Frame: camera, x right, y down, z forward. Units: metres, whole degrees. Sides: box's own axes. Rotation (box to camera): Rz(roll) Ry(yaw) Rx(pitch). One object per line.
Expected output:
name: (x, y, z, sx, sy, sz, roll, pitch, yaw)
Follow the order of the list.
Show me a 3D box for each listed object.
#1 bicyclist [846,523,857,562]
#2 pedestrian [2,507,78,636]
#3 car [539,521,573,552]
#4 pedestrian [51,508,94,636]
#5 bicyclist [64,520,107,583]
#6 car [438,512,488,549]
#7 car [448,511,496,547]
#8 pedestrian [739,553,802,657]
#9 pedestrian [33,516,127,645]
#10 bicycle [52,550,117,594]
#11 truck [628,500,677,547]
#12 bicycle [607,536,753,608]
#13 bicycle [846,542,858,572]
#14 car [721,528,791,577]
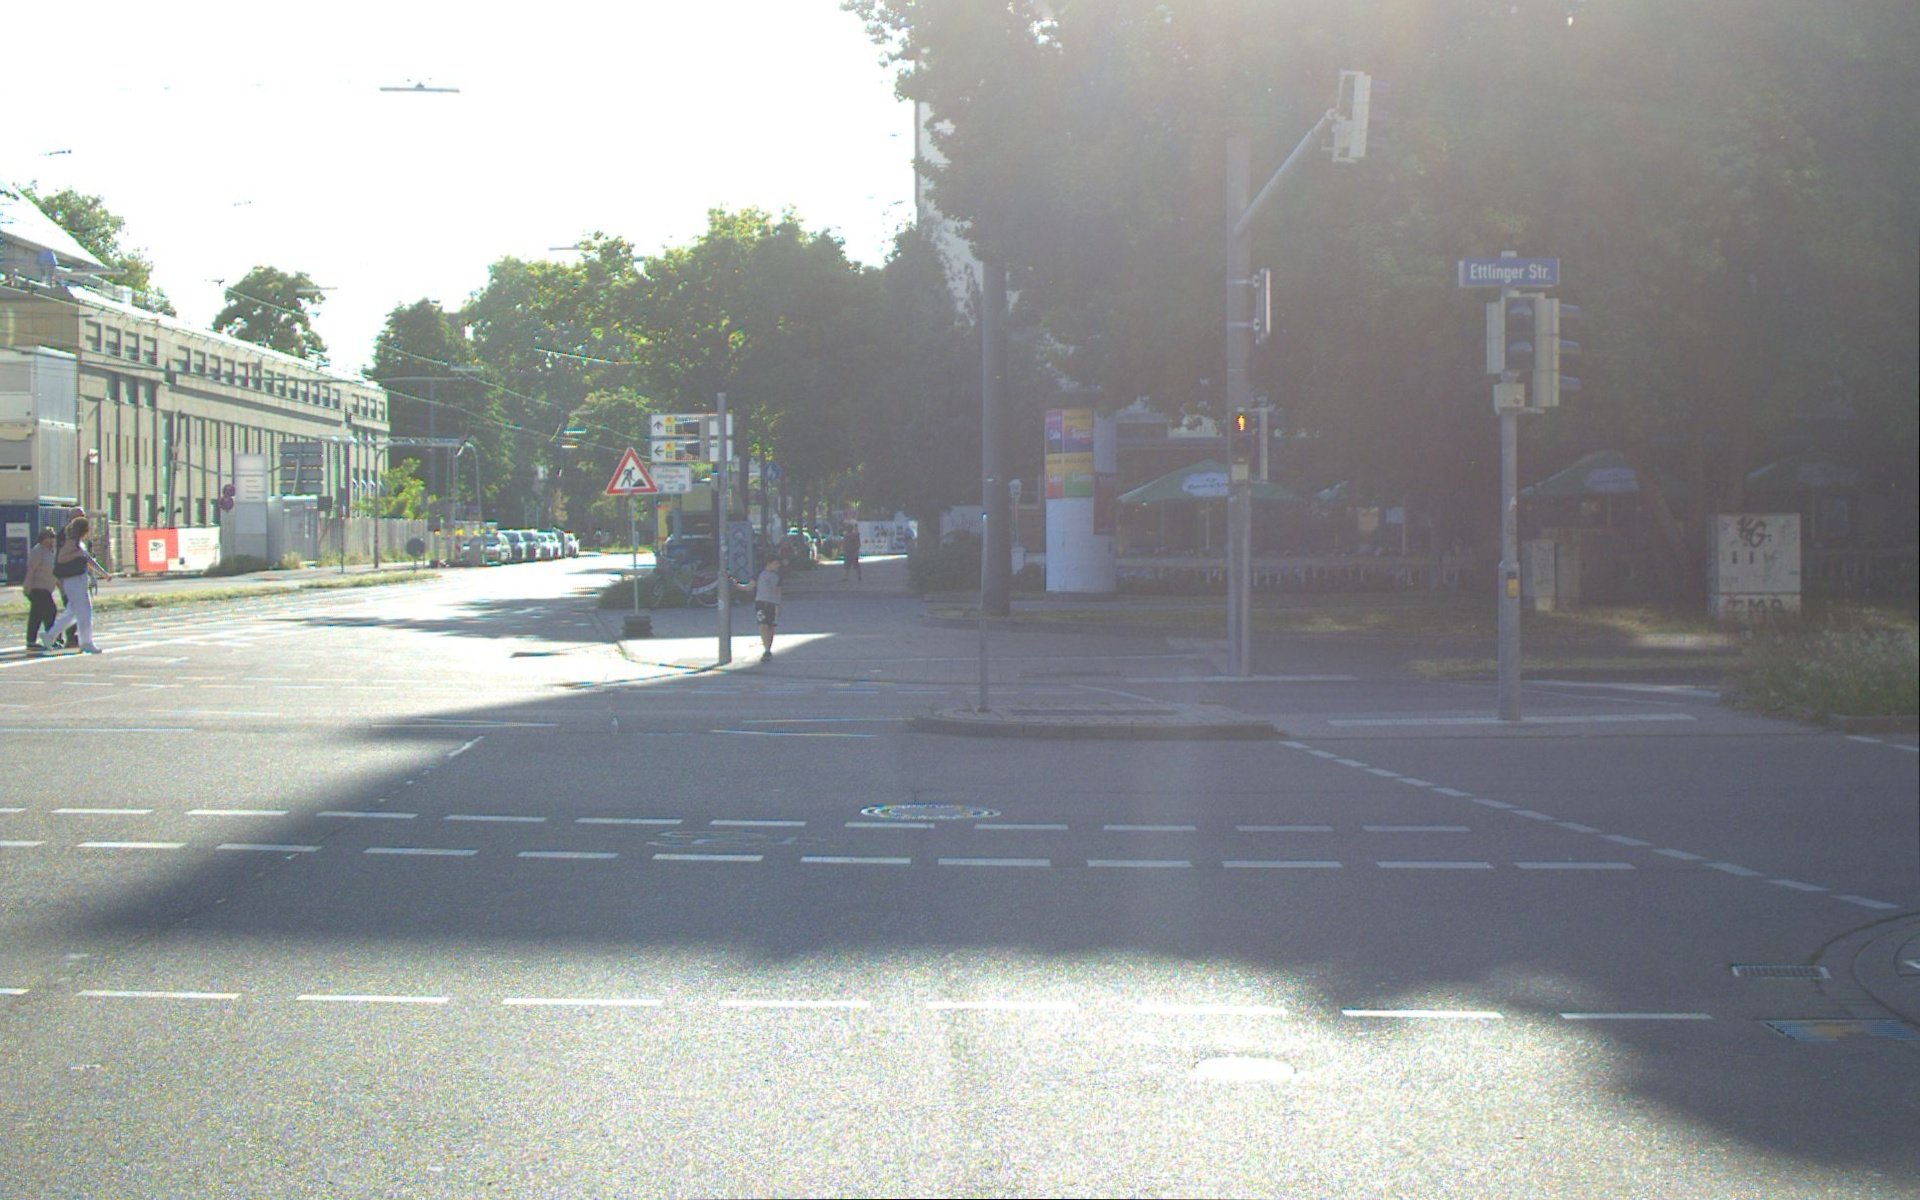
bicyclist: (-3.182, -1.687, 101.045, 0.318, 1.123, 0.291, -1, 1, -1)
pedestrian: (-11.727, -0.363, 43.847, 0.795, 1.634, 0.533, 0, 1, 2)
car: (-22.828, -3.583, 194.293, 1.483, 1.744, 4.000, -1, 1, -1)
pedestrian: (-11.540, -0.364, 44.705, 0.441, 1.657, 0.376, -1, 1, -1)
bicyclist: (-22.644, -1.260, 89.019, 0.875, 1.636, 0.822, 0, 1, 1)
car: (-22.535, -3.158, 155.970, 1.731, 1.647, 4.000, 0, 1, -1)
car: (-22.708, -3.292, 160.078, 1.731, 1.647, 4.000, 0, 1, -1)
pedestrian: (-2.457, 0.056, 44.558, 0.752, 1.328, 0.742, 0, 1, 1)
pedestrian: (-10.993, -0.243, 42.947, 0.984, 1.582, 0.660, 0, 0, 1)
bicycle: (-22.639, -0.735, 88.976, 0.875, 1.117, 3.013, 0, 1, 1)
truck: (-13.902, -3.455, 155.519, 1.915, 2.085, 4.000, 0, 1, -1)
bicycle: (-5.469, -0.554, 67.149, 2.748, 1.363, 0.630, 1, 0, 11)
bicycle: (-3.176, -1.271, 101.009, 0.324, 0.865, 1.483, -1, 1, -1)
car: (-5.450, -1.292, 92.158, 1.819, 1.274, 4.001, 0, 1, -3)
